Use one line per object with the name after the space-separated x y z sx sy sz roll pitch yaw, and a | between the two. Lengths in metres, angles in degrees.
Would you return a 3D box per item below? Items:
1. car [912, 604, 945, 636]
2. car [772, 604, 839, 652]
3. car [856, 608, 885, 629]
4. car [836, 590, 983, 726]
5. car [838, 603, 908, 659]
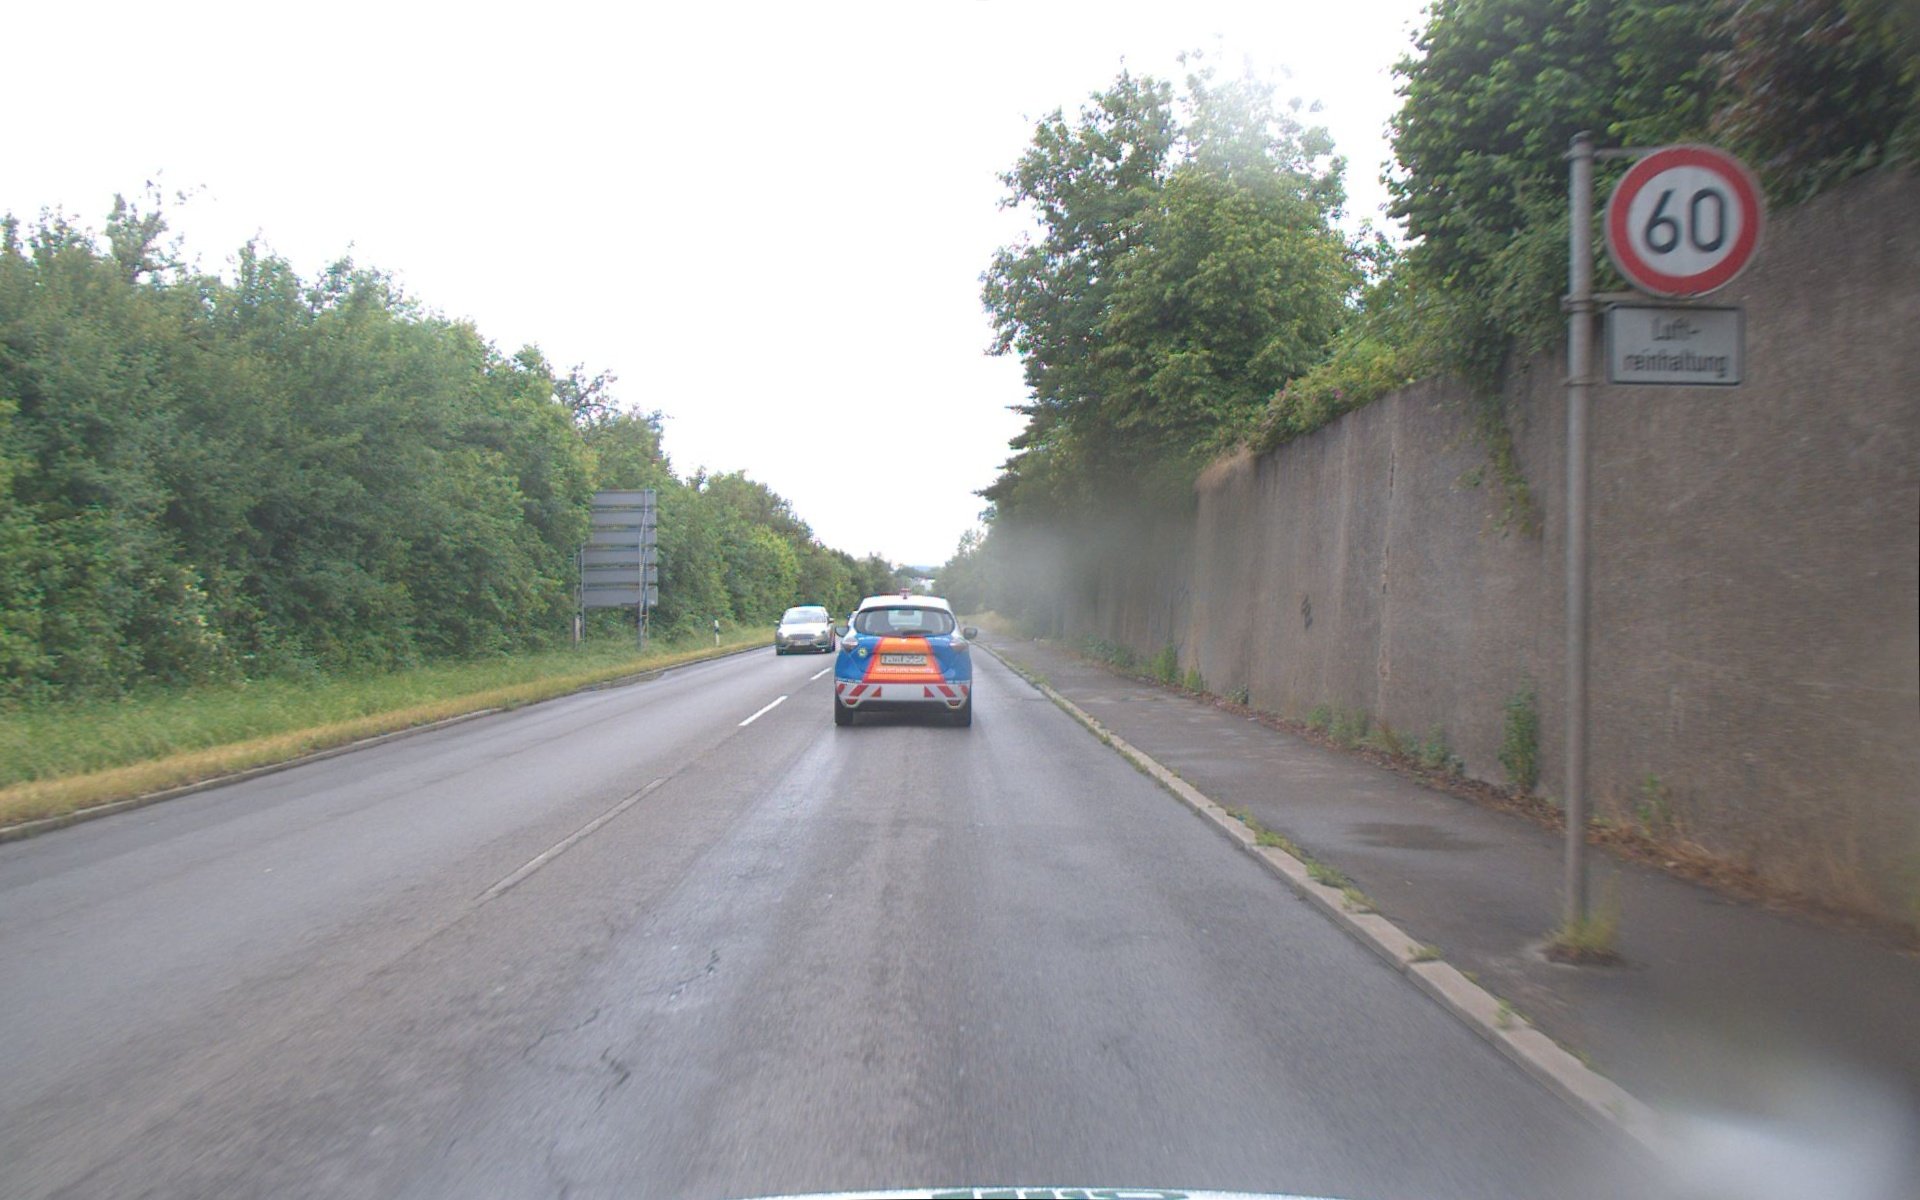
-1.830 1.123 93.990 1.737 1.653 3.998 -2 0 -2 | car
-4.941 0.864 53.355 1.788 1.445 4.318 -1 0 -1 | car
-5.923 1.213 109.670 1.853 1.378 4.380 0 0 -2 | car
-0.636 0.684 21.371 1.716 1.583 3.791 1 0 -1 | car
-2.140 0.754 41.223 1.566 1.309 3.475 -1 -1 -1 | car
